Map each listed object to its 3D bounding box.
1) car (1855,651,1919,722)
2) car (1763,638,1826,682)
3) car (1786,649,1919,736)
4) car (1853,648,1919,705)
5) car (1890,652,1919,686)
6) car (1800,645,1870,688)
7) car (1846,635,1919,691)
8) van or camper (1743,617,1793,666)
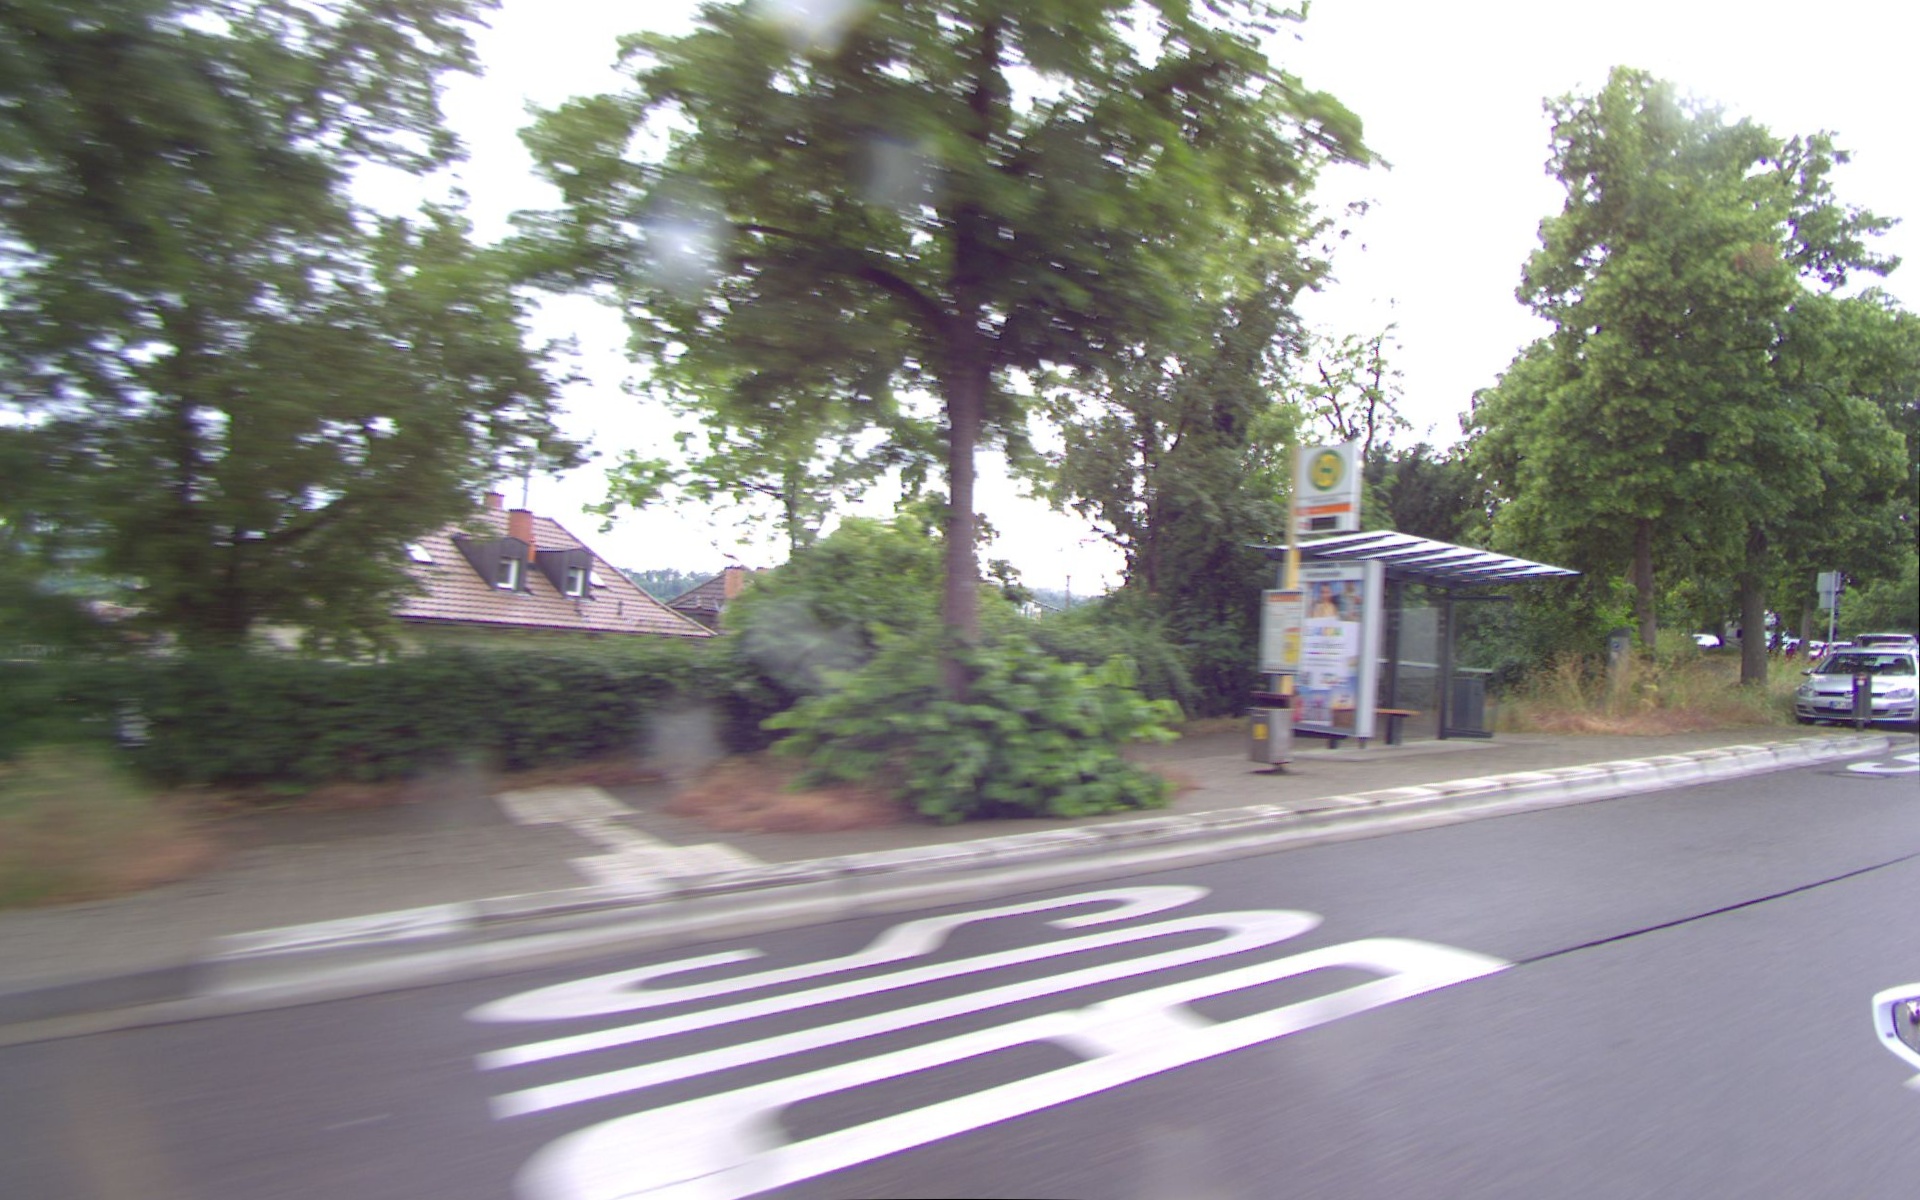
[{"bbox_3d":[21.228,1.874,22.261,3.971,1.445,1.659,3,-3,-42],"label":"car"},{"bbox_3d":[40.512,2.908,48.853,1.967,2.040,3.988,-1,-3,35],"label":"car"},{"bbox_3d":[17.153,1.669,18.905,3.965,1.445,1.661,3,-3,-38],"label":"car"},{"bbox_3d":[25.838,2.070,27.581,3.973,1.445,1.657,3,-3,-44],"label":"car"},{"bbox_3d":[47.631,3.388,49.315,1.738,1.590,4.028,0,-3,25],"label":"car"},{"bbox_3d":[37.518,2.821,43.168,1.969,1.750,3.985,-2,-4,37],"label":"car"},{"bbox_3d":[32.791,2.208,35.690,1.815,1.867,3.884,-1,-3,40],"label":"car"},{"bbox_3d":[46.158,2.392,57.449,1.755,2.686,3.980,-1,-3,33],"label":"van or camper"}]
